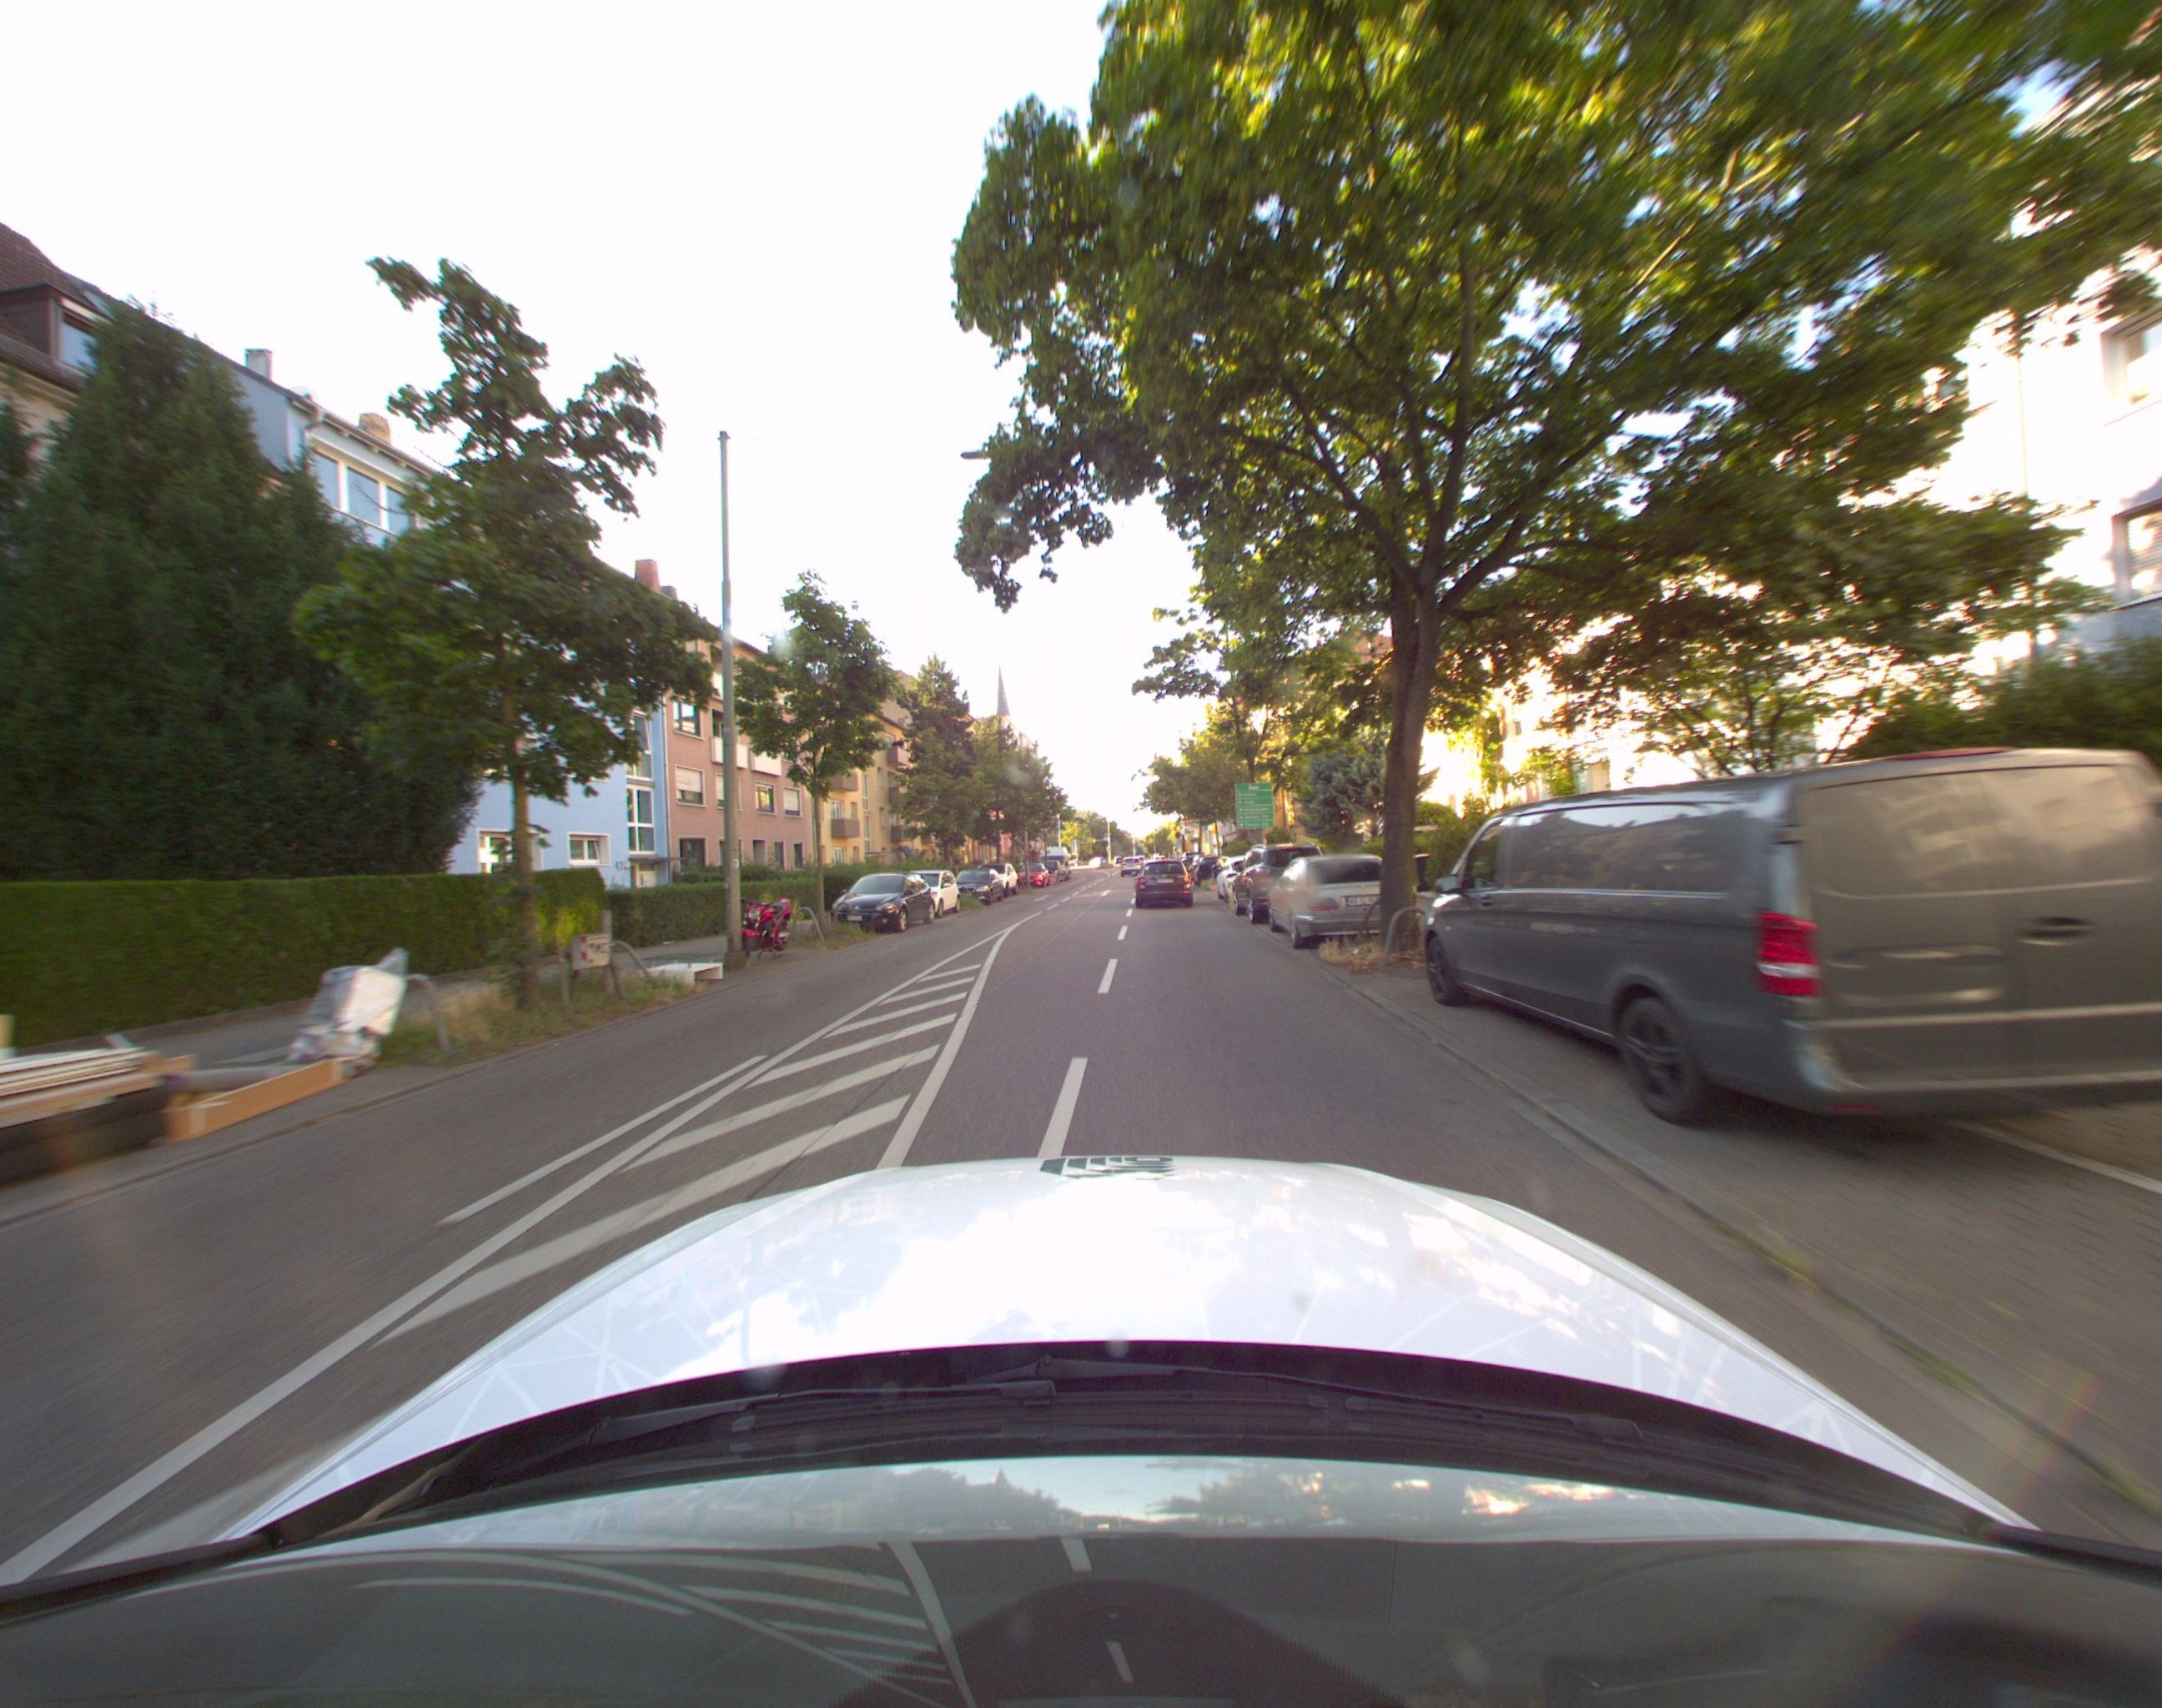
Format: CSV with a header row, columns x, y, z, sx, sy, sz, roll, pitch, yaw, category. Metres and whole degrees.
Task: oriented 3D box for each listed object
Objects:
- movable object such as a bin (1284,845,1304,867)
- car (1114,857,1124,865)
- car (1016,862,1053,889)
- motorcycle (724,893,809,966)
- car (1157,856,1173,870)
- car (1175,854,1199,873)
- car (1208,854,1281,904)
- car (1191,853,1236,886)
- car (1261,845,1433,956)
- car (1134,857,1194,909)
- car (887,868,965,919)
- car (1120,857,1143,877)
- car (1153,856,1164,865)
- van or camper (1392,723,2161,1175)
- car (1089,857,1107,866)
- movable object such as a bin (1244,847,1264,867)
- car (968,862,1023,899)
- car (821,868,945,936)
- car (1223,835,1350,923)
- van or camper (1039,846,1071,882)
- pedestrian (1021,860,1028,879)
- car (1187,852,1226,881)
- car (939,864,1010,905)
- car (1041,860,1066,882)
x,y,z,sx,sy,sz,roll,pitch,yaw,category
16.218,0.150,62.024,1.153,1.555,0.993,-3,-1,-5,movable object such as a bin
7.255,1.345,155.180,1.612,1.494,3.352,-3,0,5,car
-2.794,1.289,50.016,1.709,1.452,3.928,-2,0,4,car
-5.659,1.327,14.805,0.636,1.136,2.174,-1,0,2,motorcycle
9.186,0.990,89.614,1.643,1.484,4.245,-2,0,5,car
9.299,0.796,71.814,1.846,1.512,4.843,-4,-1,6,car
5.227,0.753,26.553,1.754,1.402,4.339,-4,-1,5,car
6.477,0.721,40.241,1.762,1.448,4.490,-4,0,4,car
4.297,0.664,13.942,1.775,1.504,4.839,-3,0,6,car
2.548,0.842,25.396,1.699,1.457,4.164,0,0,5,car
-4.986,1.228,26.629,1.584,1.492,3.645,-2,-1,4,car
4.049,1.020,65.199,1.699,1.510,4.315,-2,0,5,car
12.061,1.017,126.282,1.577,1.447,3.652,-2,0,5,car
4.146,0.362,6.045,1.984,1.842,5.267,-3,1,5,van or camper
3.442,1.496,164.475,2.005,1.670,3.963,-3,-1,-28,car
13.270,0.219,62.422,1.242,1.441,0.999,-3,-1,19,movable object such as a bin
-4.011,1.207,38.869,1.768,1.588,4.191,-2,0,5,car
-5.061,1.184,21.482,1.828,1.517,4.322,-2,0,5,car
4.644,0.523,19.115,1.908,1.681,4.711,-5,-1,3,car
-1.975,0.748,64.145,2.028,2.664,6.018,-1,0,2,van or camper
-4.991,1.361,72.180,0.478,1.652,0.725,-3,-1,-2,pedestrian
7.184,0.692,47.022,1.709,1.472,4.434,-4,0,3,car
-4.332,1.212,33.878,1.985,1.448,4.463,-3,-1,4,car
-1.982,1.235,59.177,1.396,1.548,2.766,-1,0,6,car
